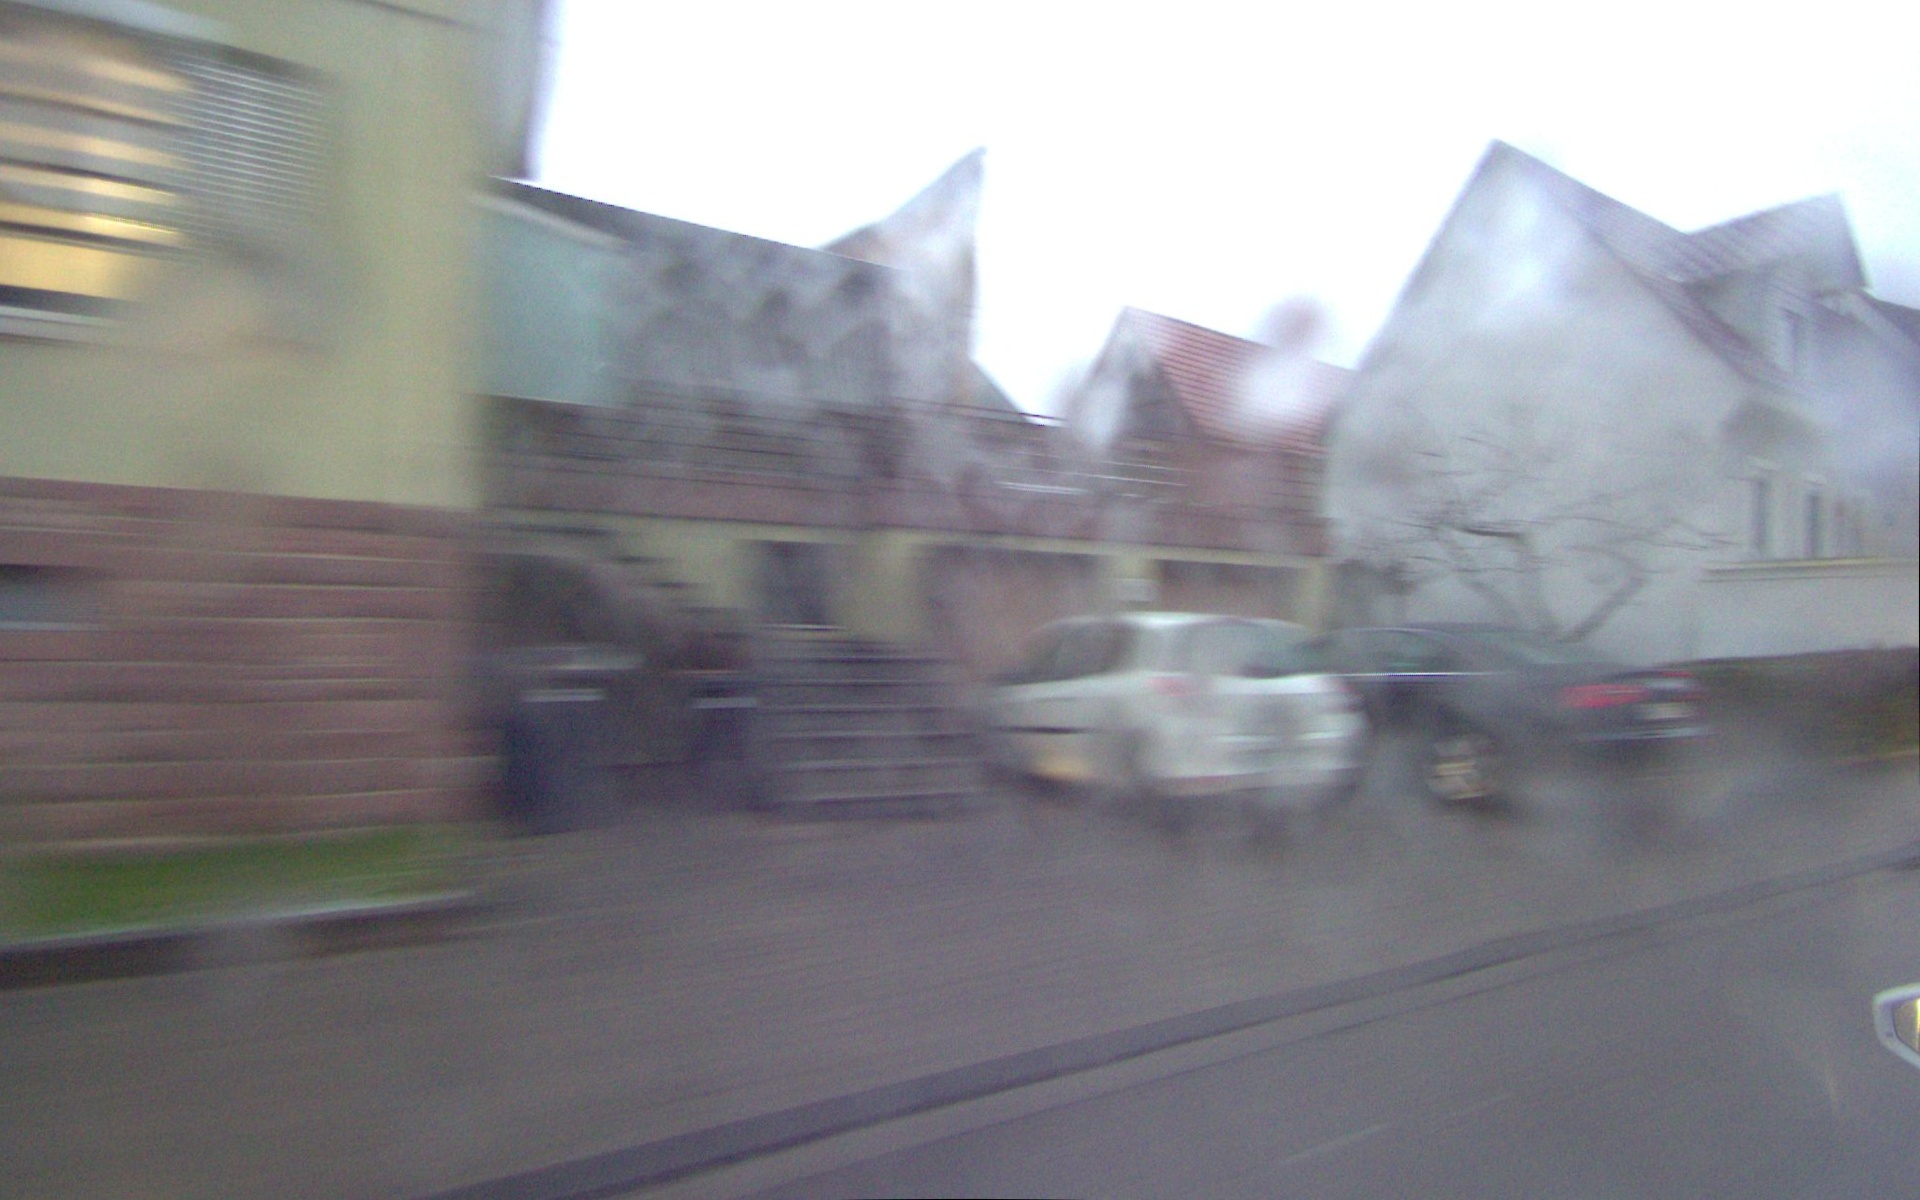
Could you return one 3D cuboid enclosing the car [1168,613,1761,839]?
[{"bbox_3d":[4.133,0.911,9.158,1.975,1.490,4.576,1,-2,-27],"label":"car"}]

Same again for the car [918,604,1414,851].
[{"bbox_3d":[1.335,0.847,8.572,1.865,1.490,4.592,1,-2,-24],"label":"car"}]
